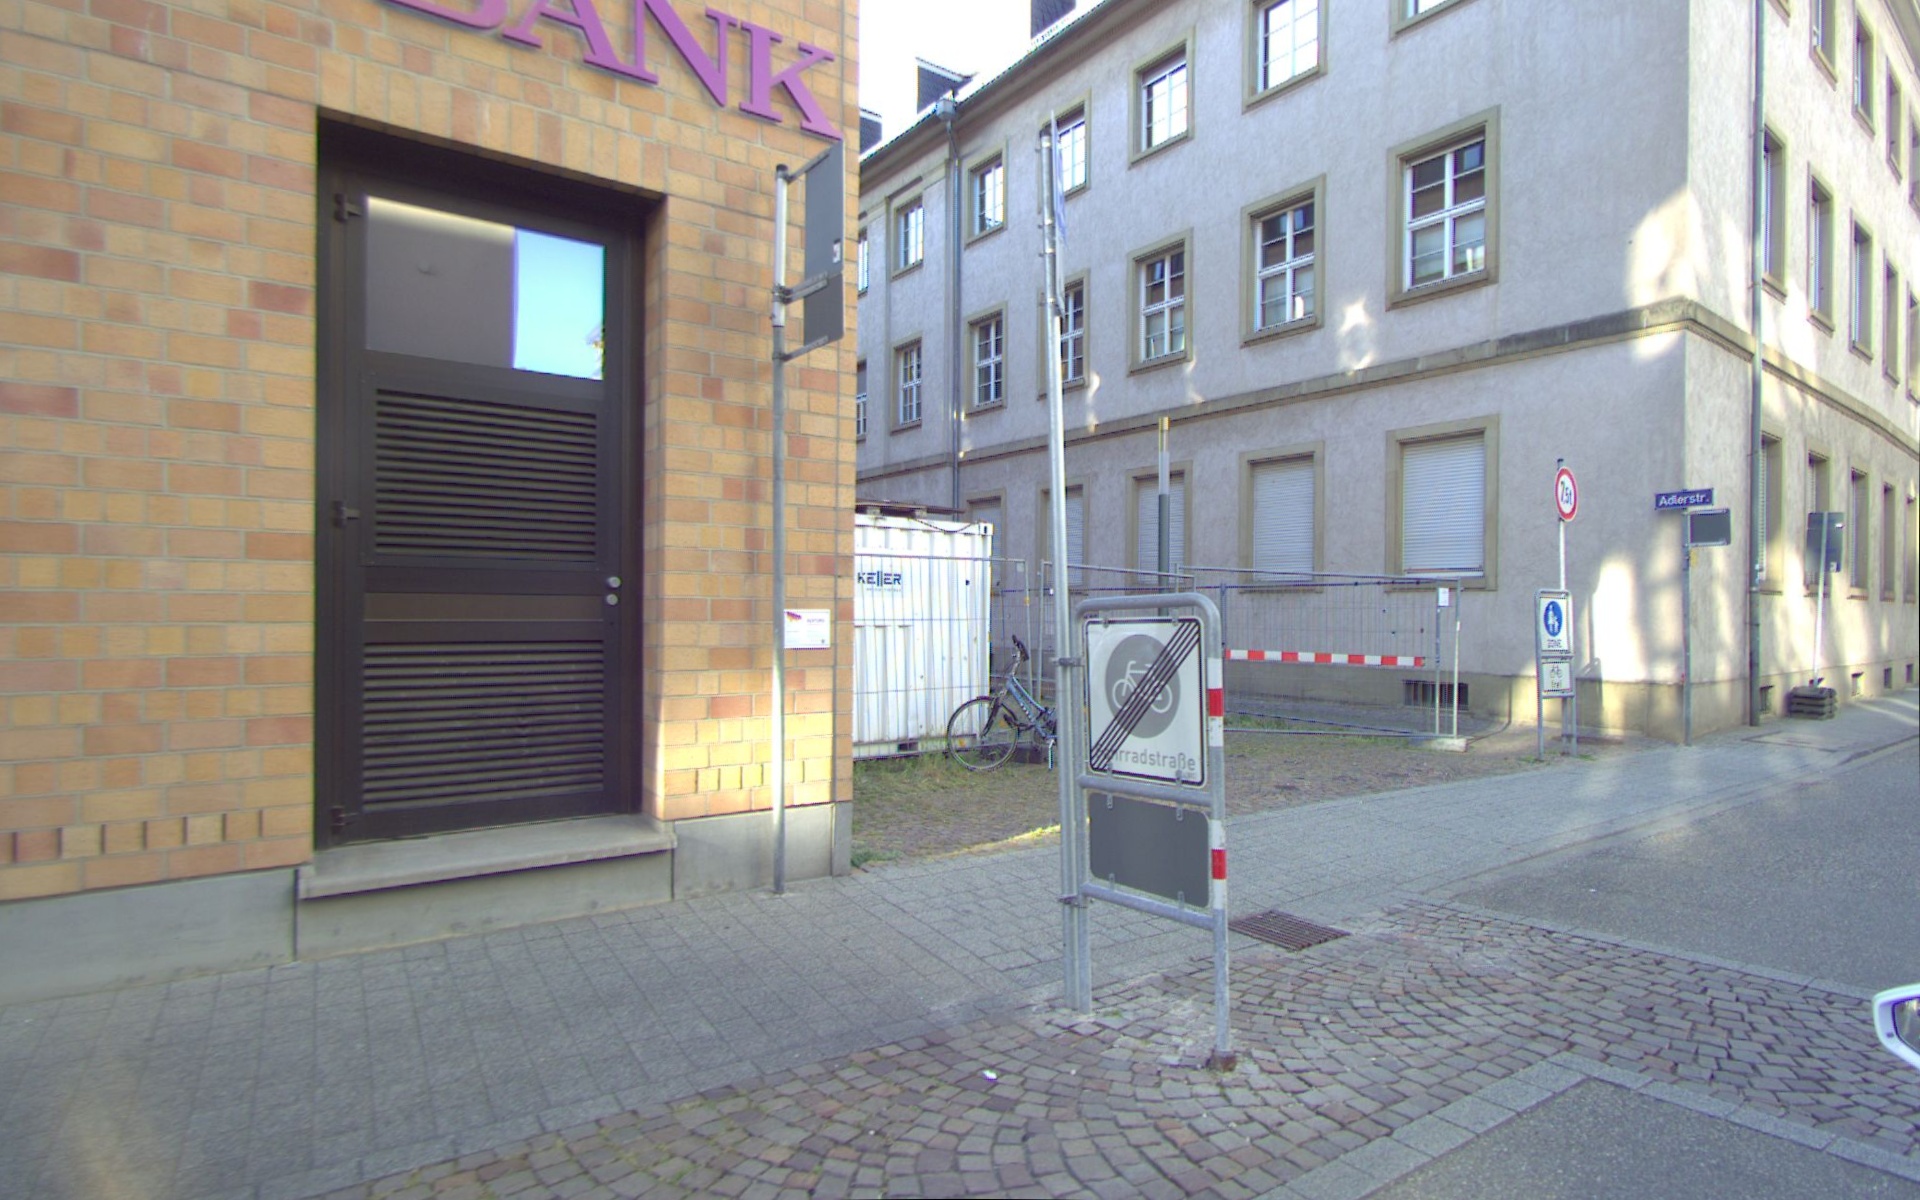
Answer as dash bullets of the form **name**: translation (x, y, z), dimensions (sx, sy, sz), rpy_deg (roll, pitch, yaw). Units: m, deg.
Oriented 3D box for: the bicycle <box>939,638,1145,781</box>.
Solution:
- **bicycle**: translation (0.752, 0.982, 9.423), dimensions (1.745, 1.217, 0.808), rpy_deg (1, 1, -17)
